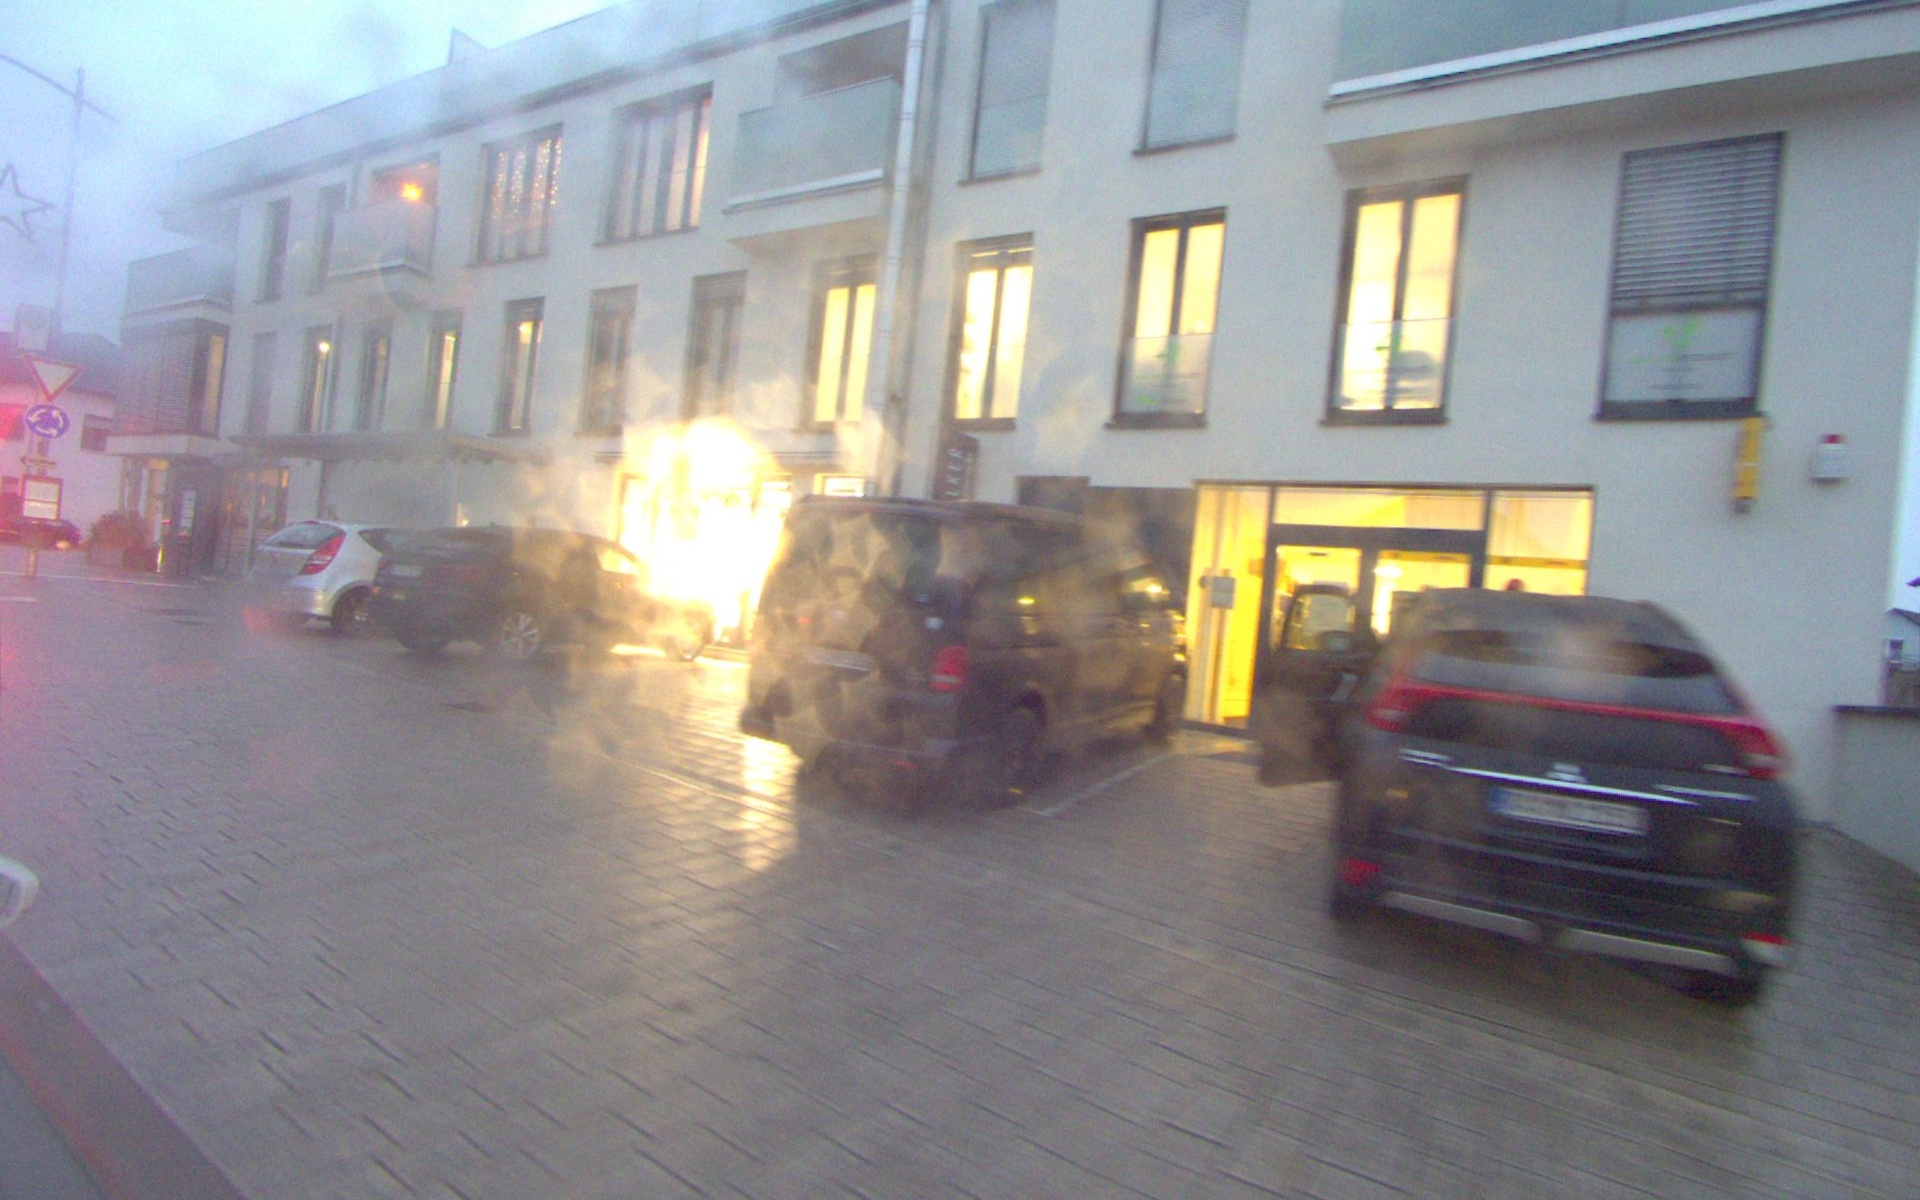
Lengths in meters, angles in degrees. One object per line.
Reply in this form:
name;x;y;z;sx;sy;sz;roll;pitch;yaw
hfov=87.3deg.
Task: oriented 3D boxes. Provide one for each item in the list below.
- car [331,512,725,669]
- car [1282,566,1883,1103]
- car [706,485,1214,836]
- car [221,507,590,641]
car;-4.989;-0.070;12.286;1.761;1.479;4.211;6;1;26
car;3.102;0.752;5.717;1.771;1.663;4.176;7;6;24
car;0.347;0.263;8.083;1.917;1.947;4.560;5;4;31
car;-7.491;-0.286;14.066;1.761;1.479;4.211;6;1;26
